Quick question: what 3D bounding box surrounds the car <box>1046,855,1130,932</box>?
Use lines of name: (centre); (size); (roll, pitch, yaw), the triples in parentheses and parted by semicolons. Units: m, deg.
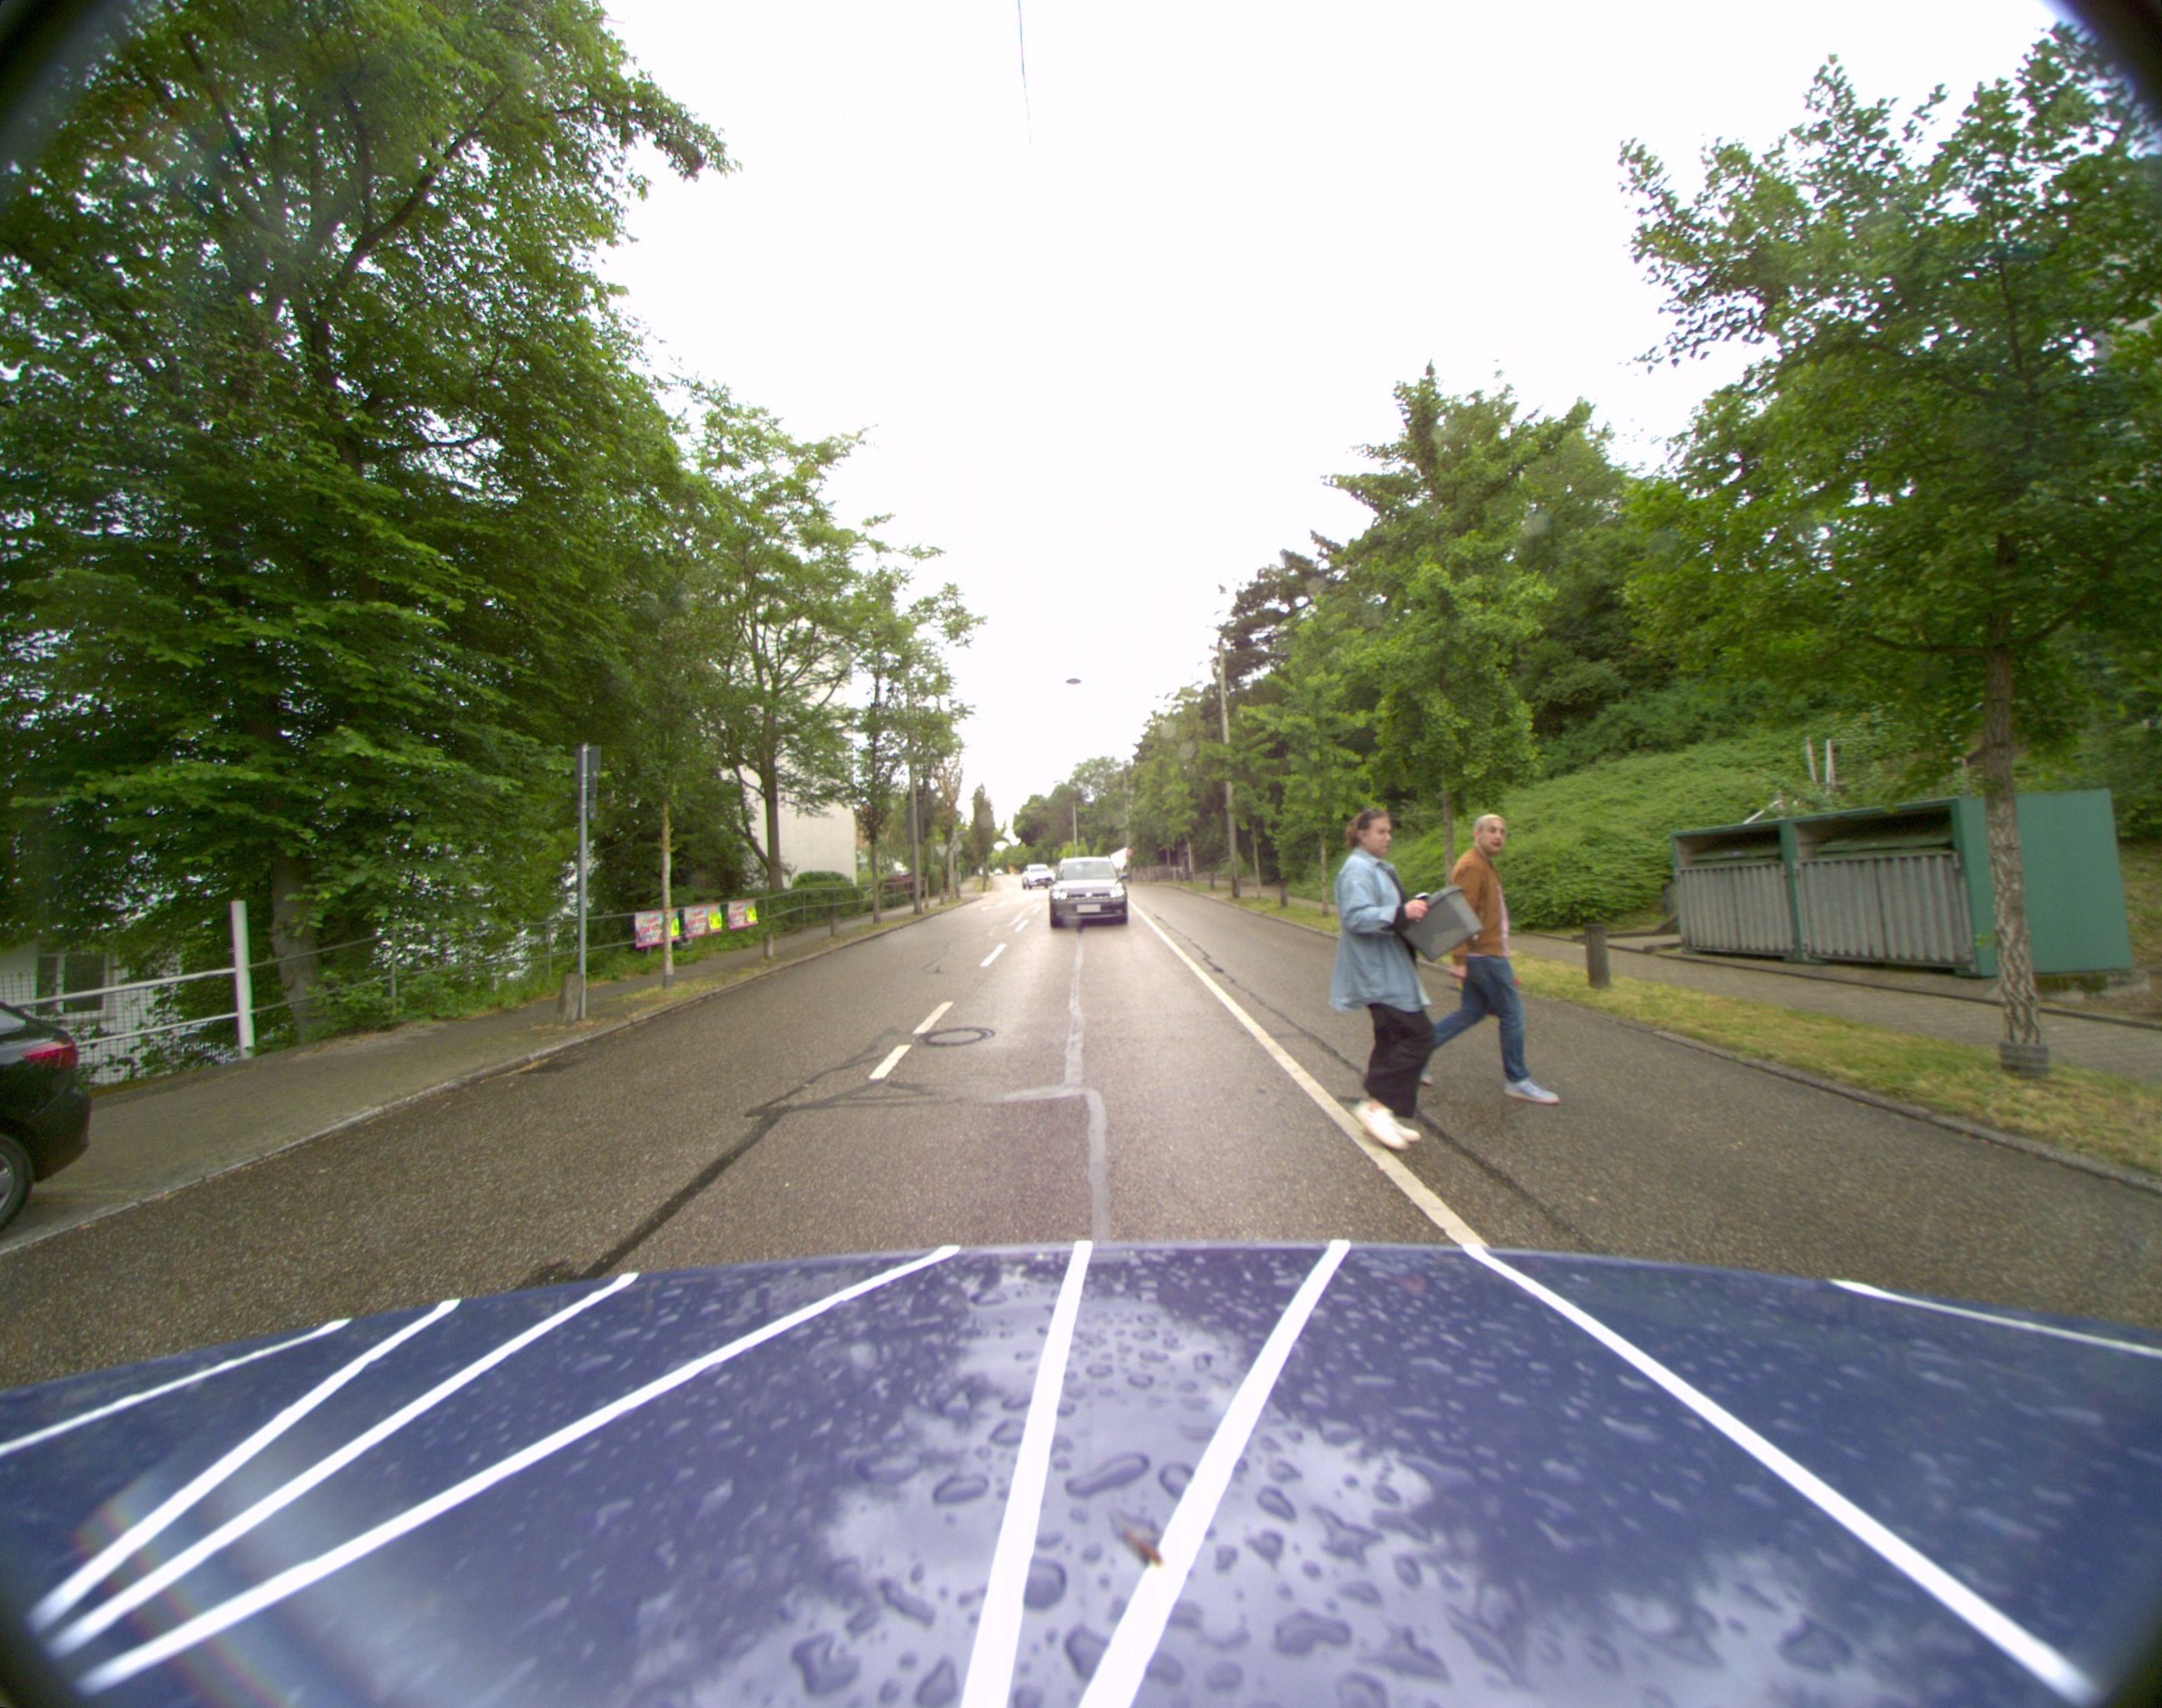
car: (0.181, 0.892, 19.394); (1.834, 1.608, 4.292); (-3, 1, 1)

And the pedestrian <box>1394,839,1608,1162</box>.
pedestrian: (2.556, 0.804, 4.745); (1.071, 1.772, 0.826); (-1, 1, 24)

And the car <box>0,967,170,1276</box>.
car: (-6.336, 1.389, 2.224); (1.999, 1.426, 4.442); (-1, 0, -1)

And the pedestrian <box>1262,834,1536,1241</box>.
pedestrian: (1.622, 0.828, 3.908); (1.071, 1.772, 0.826); (-4, 1, 26)

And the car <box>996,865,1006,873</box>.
car: (-18.474, 3.389, 175.954); (1.892, 1.710, 4.236); (-1, 1, -2)

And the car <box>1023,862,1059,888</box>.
car: (-2.819, 1.412, 52.354); (1.836, 1.608, 4.346); (-3, 1, -11)
